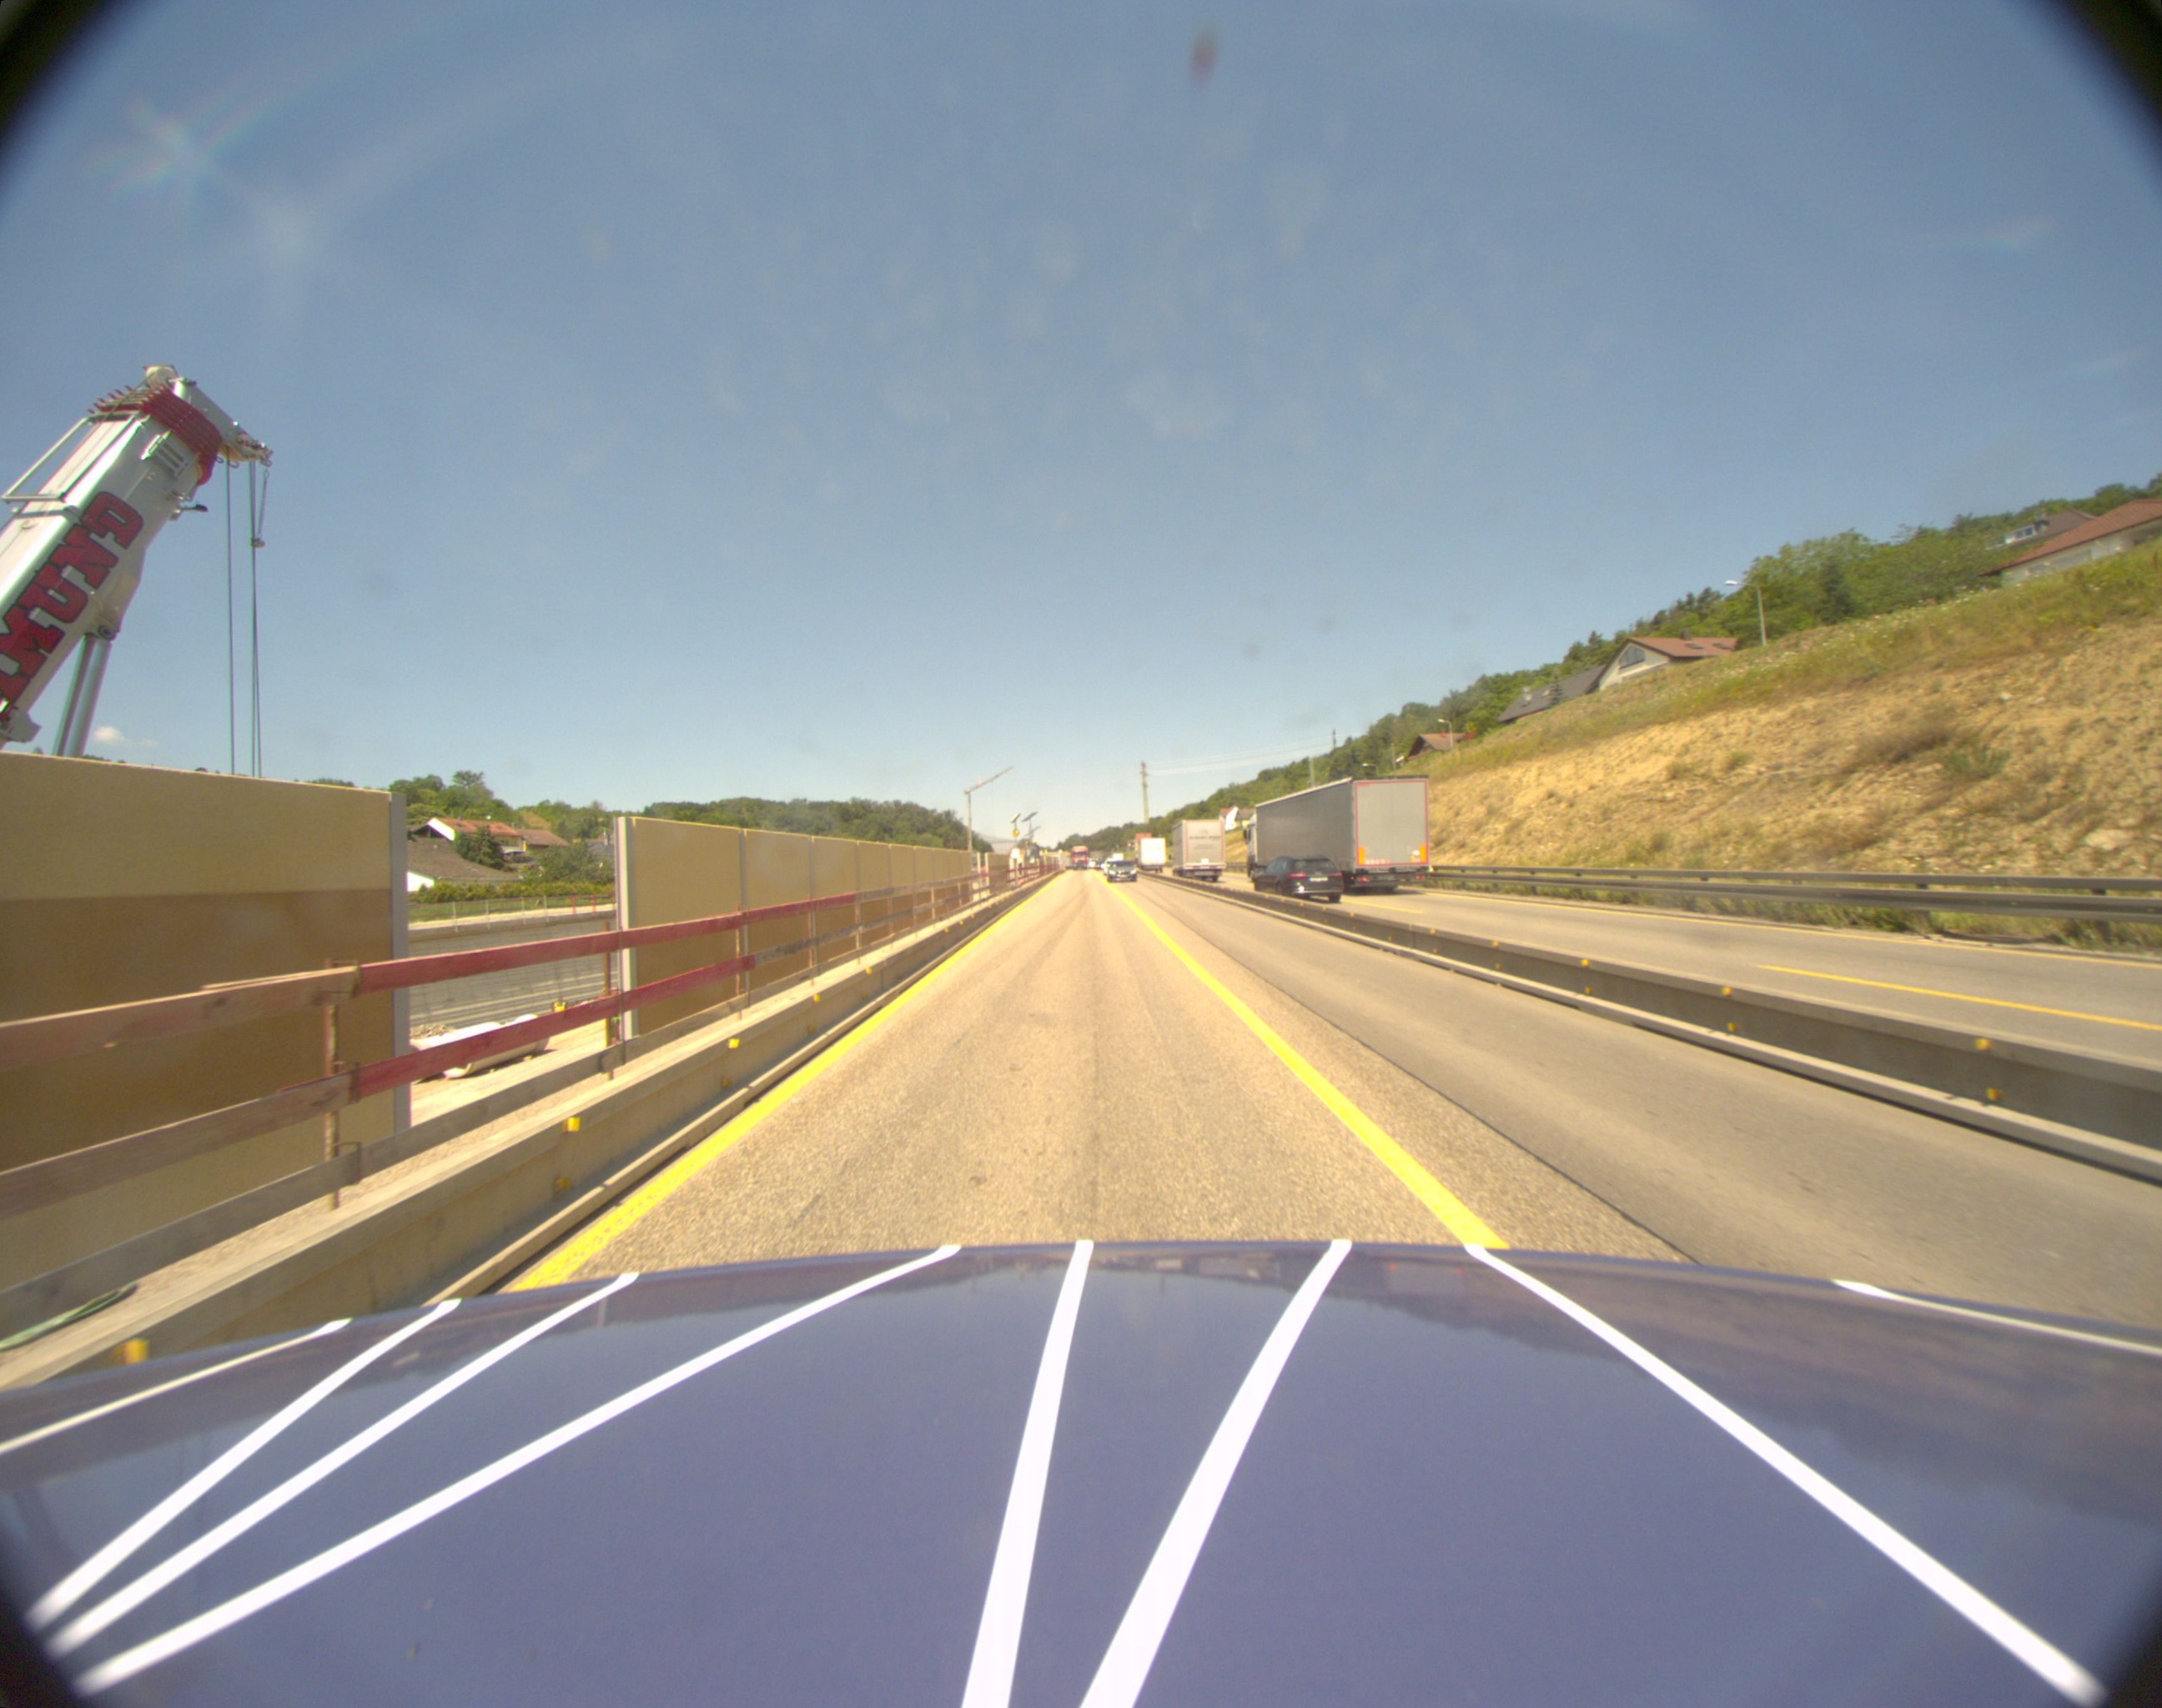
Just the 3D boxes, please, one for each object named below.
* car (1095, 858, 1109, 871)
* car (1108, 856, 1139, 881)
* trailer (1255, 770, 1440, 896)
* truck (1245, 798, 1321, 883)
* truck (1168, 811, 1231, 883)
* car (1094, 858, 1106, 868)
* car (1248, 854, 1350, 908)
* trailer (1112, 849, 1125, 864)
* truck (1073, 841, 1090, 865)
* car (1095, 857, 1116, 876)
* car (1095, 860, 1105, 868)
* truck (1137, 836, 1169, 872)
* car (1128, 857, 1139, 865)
[{"bbox_3d":[2.916,1.543,106.404,1.780,1.727,4.337,-2,-1,1],"label":"car"},{"bbox_3d":[2.739,0.945,49.231,1.780,1.447,4.337,-2,-1,1],"label":"car"},{"bbox_3d":[10.261,-0.645,31.583,2.705,4.001,13.702,-2,0,0],"label":"trailer"},{"bbox_3d":[10.252,-0.666,38.959,2.705,4.026,3.955,-2,0,0],"label":"truck"},{"bbox_3d":[6.741,-0.361,44.234,2.596,3.736,7.359,-2,0,1],"label":"truck"},{"bbox_3d":[3.104,1.506,125.639,1.780,1.485,4.337,-2,-1,1],"label":"car"},{"bbox_3d":[6.739,0.783,24.013,1.784,1.449,4.720,-3,0,0],"label":"car"},{"bbox_3d":[10.864,0.871,222.655,2.793,4.157,13.978,-2,-1,0],"label":"trailer"},{"bbox_3d":[0.100,-0.069,131.302,2.606,3.703,10.538,-2,-1,1],"label":"truck"},{"bbox_3d":[2.241,1.165,70.978,1.780,1.682,4.337,-2,-1,1],"label":"car"},{"bbox_3d":[3.709,2.014,150.180,1.780,1.485,4.337,-2,-1,1],"label":"car"},{"bbox_3d":[7.248,0.013,77.235,2.544,3.354,7.038,-2,0,1],"label":"truck"},{"bbox_3d":[10.044,1.389,144.749,1.780,1.485,4.337,-2,-1,1],"label":"car"}]
